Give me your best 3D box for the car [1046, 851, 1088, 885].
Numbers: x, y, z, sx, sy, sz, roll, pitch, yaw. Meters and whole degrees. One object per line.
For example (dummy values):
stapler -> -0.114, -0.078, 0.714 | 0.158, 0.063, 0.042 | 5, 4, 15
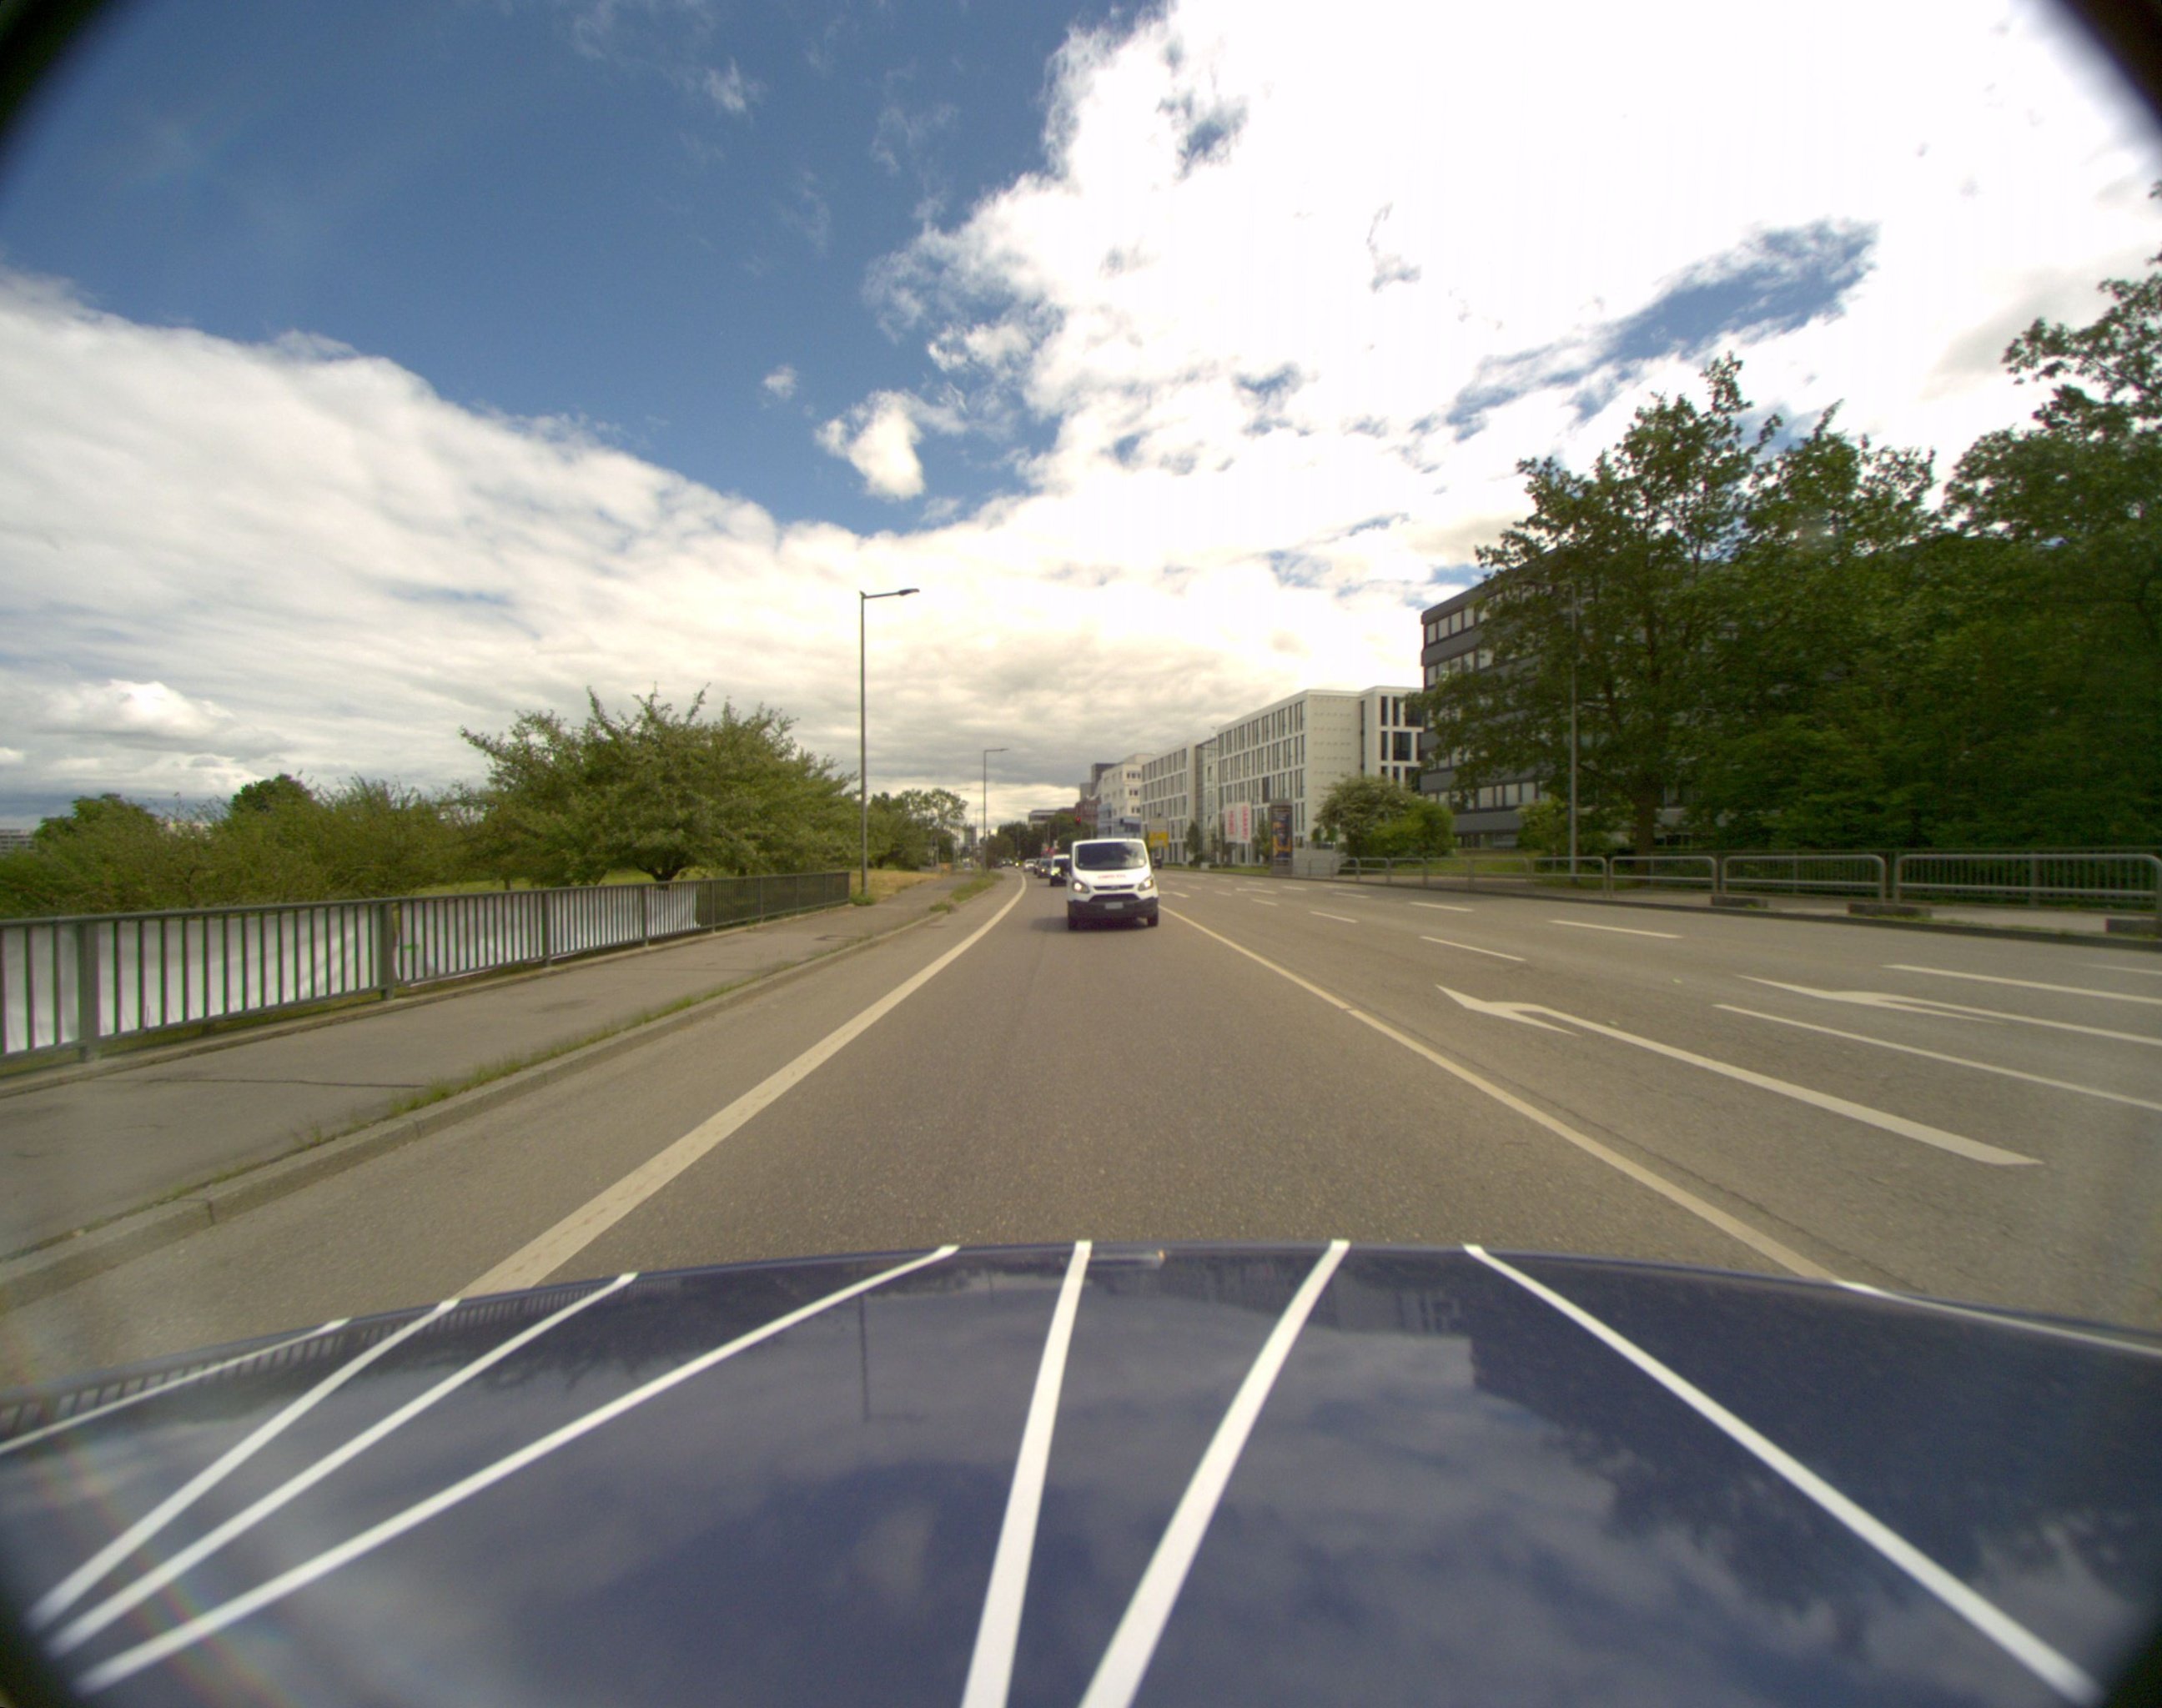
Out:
car -> -0.867, 0.783, 44.537 | 1.873, 1.836, 4.368 | -2, 0, -8

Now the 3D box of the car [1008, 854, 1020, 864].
car -> -12.675, 0.920, 143.785 | 1.873, 1.685, 4.368 | -2, 0, -8

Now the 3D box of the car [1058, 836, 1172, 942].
car -> 0.749, 0.663, 17.602 | 2.122, 1.963, 6.207 | -2, 0, 2

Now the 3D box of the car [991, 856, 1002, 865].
car -> -13.920, 1.023, 125.295 | 1.736, 1.432, 4.365 | -2, 0, -8

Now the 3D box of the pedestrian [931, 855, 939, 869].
pedestrian -> -20.132, 1.096, 104.622 | 0.767, 1.872, 0.799 | -2, 1, -32

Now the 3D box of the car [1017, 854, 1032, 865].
car -> -9.254, 0.831, 124.314 | 1.874, 1.685, 4.367 | -2, 0, -10

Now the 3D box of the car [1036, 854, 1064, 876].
car -> -2.607, 0.854, 63.082 | 1.873, 1.685, 4.368 | -2, 0, -8

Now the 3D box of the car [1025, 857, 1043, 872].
car -> -5.802, 1.270, 93.591 | 1.873, 1.685, 4.368 | -2, 0, -8
